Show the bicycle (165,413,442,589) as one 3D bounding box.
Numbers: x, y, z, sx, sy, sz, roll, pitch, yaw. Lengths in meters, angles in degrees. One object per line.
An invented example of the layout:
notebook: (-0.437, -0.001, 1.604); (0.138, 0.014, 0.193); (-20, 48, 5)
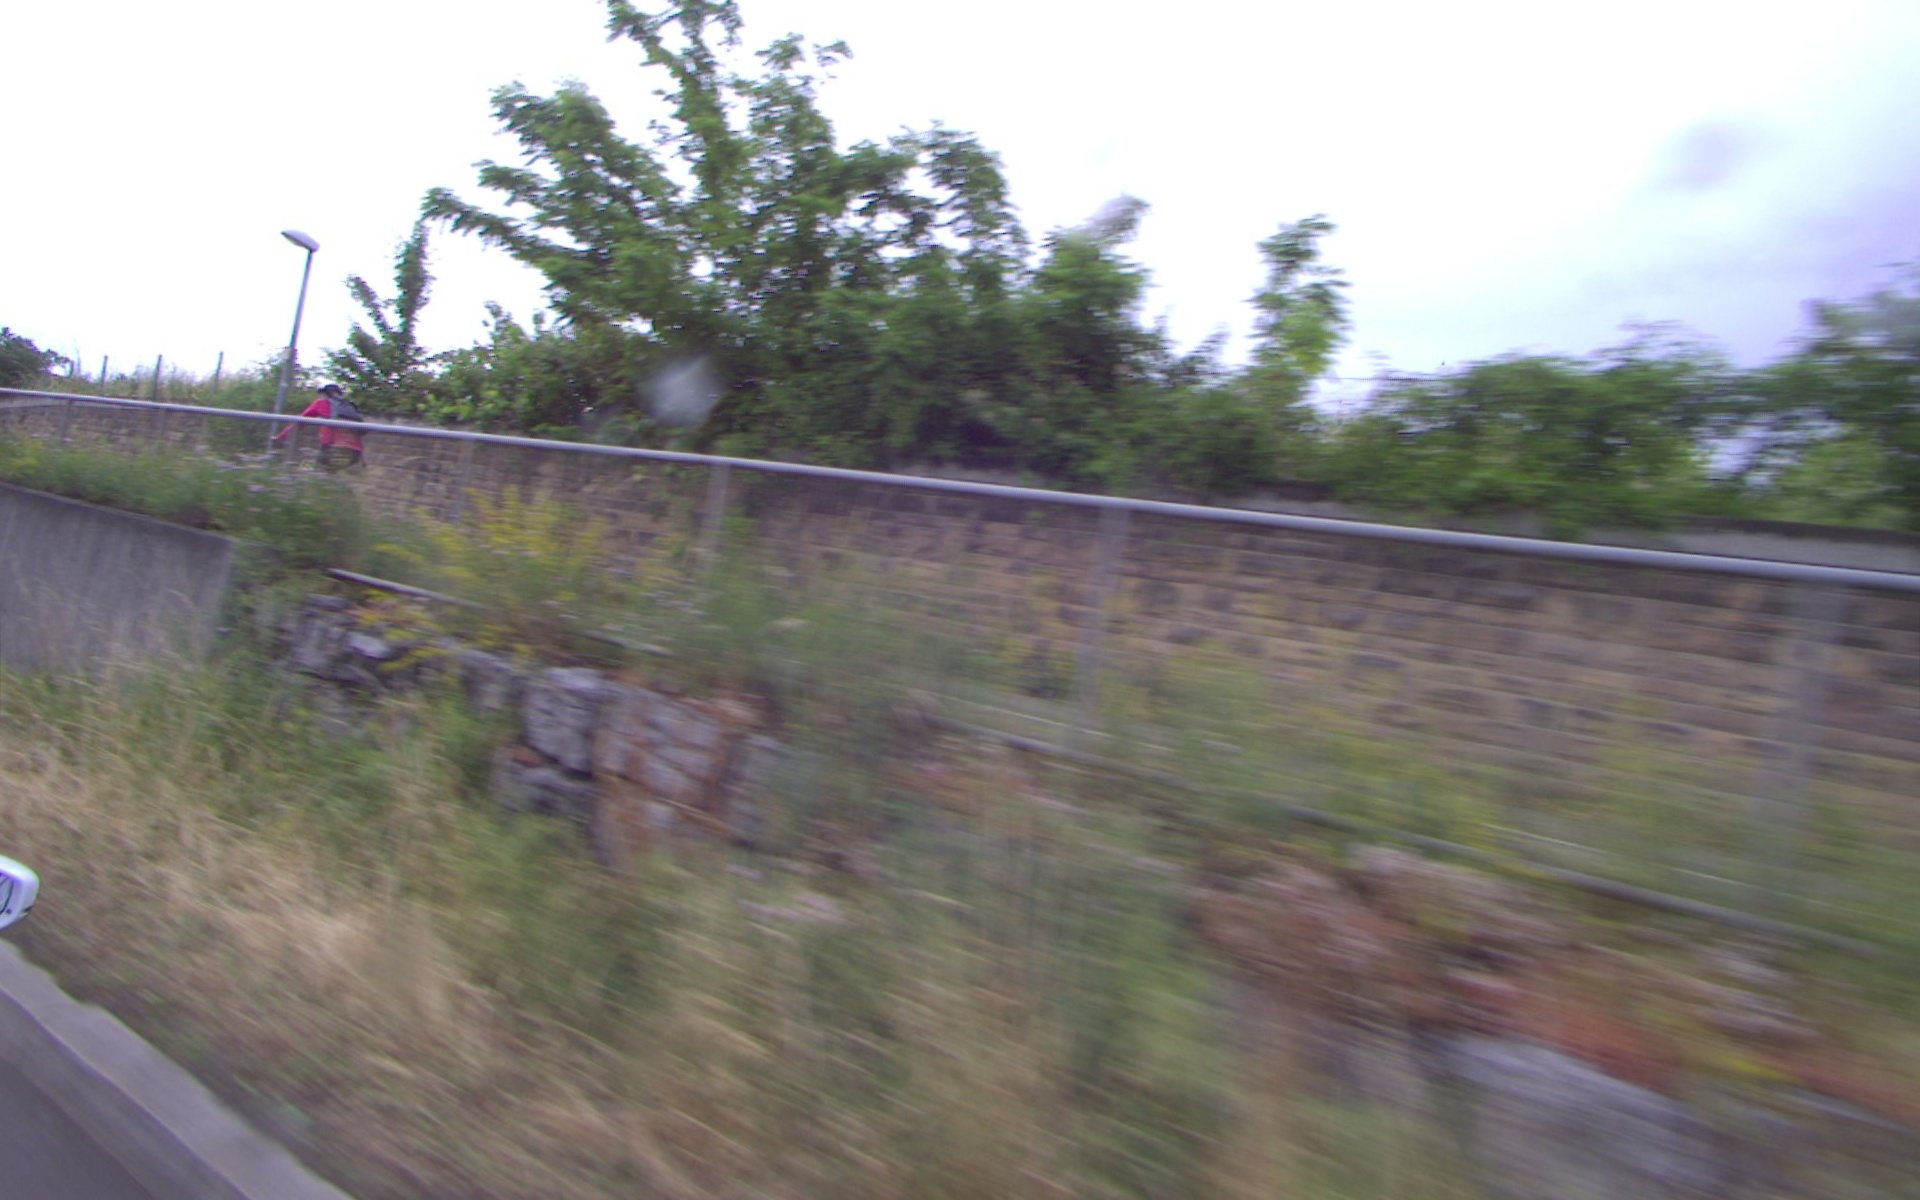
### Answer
bicycle: (-6.950, -1.082, 10.545); (3.428, 1.301, 0.872); (11, -2, 31)

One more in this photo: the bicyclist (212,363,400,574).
bicyclist: (-6.842, -1.375, 10.531); (1.272, 1.928, 0.872); (10, -2, 31)
